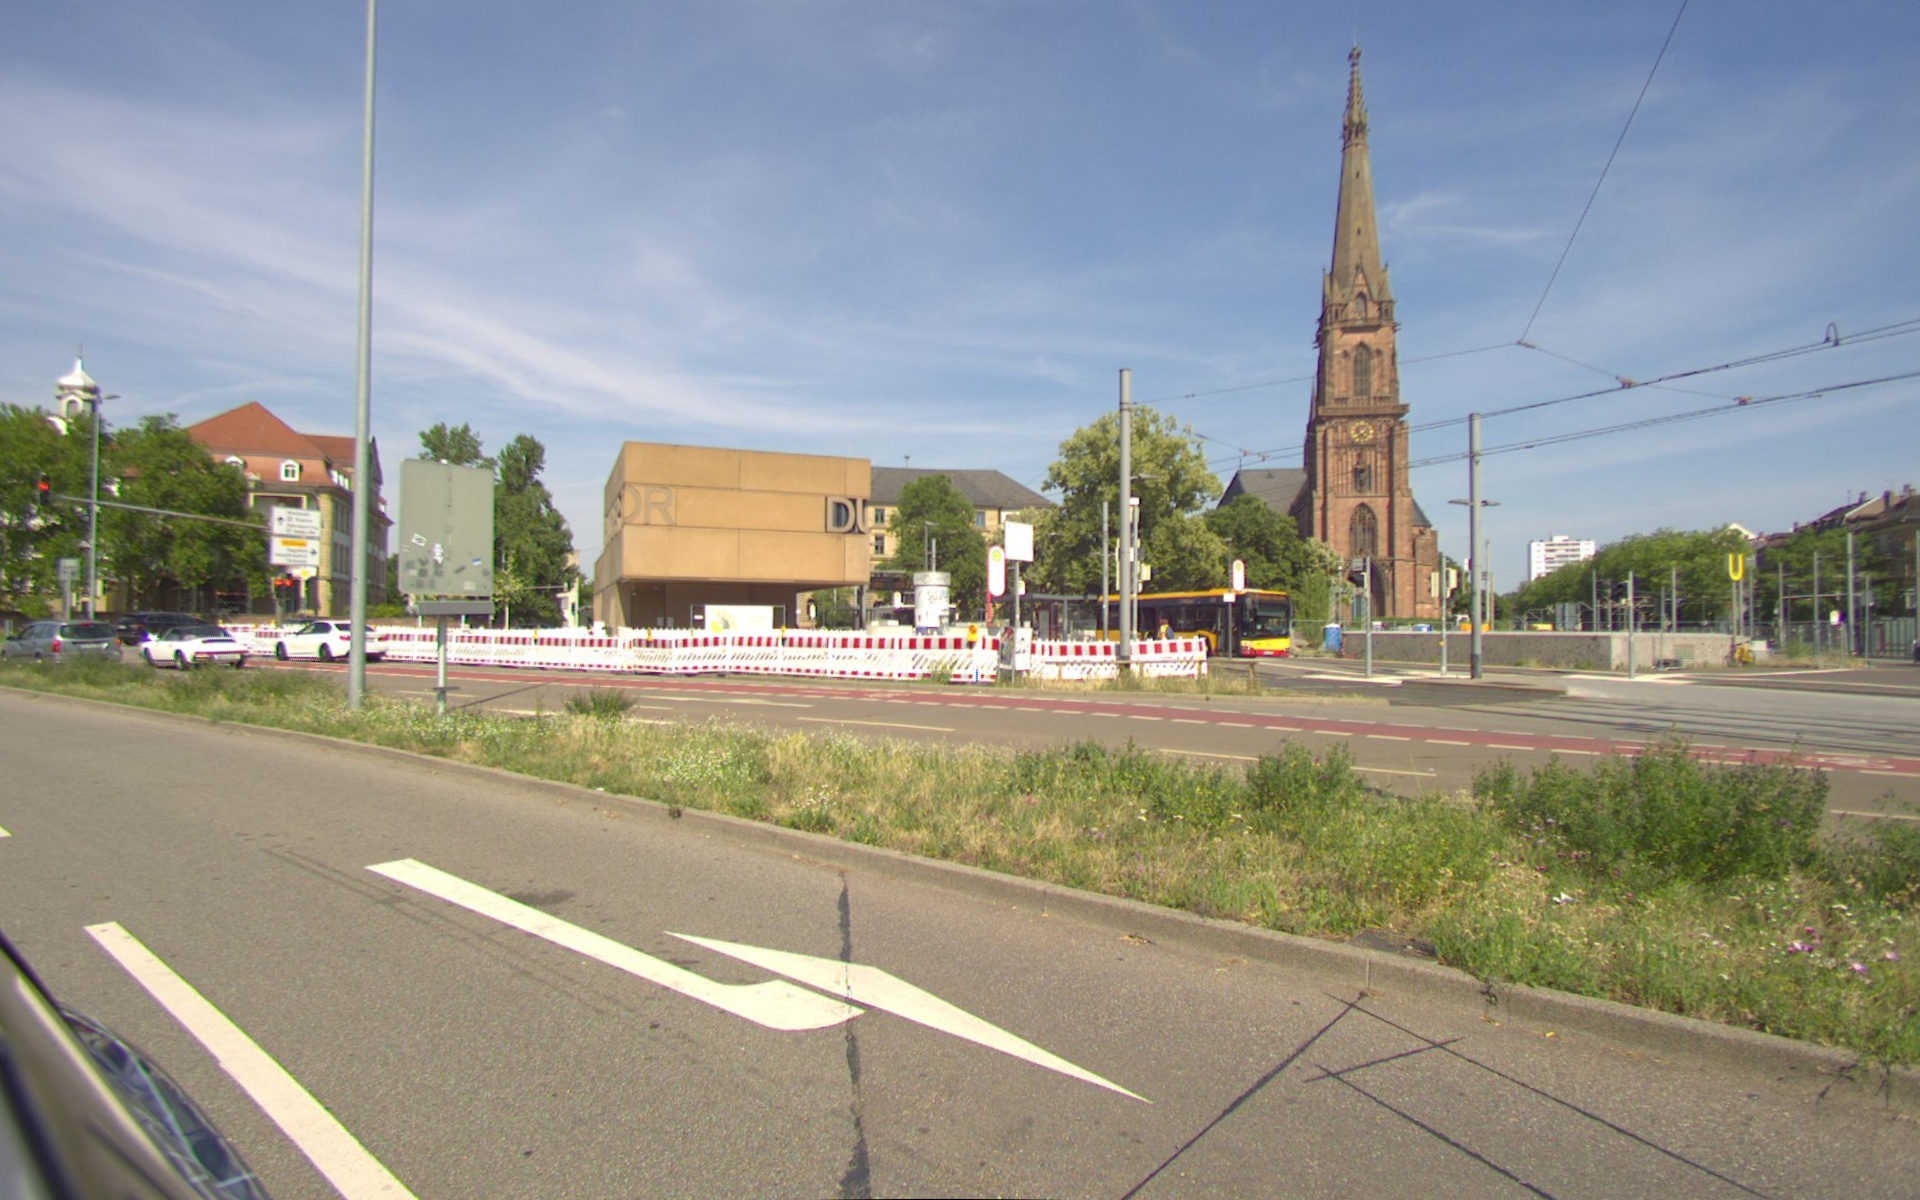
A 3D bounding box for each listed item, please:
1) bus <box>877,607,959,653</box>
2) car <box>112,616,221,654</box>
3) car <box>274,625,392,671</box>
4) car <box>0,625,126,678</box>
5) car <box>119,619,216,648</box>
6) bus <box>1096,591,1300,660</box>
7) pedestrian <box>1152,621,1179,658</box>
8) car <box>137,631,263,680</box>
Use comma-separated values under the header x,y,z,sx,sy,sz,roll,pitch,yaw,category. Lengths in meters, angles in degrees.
x,y,z,sx,sy,sz,roll,pitch,yaw,category
-3.517,2.415,79.679,2.710,3.348,11.827,1,-2,-22,bus
-40.186,1.738,51.335,1.745,1.742,4.088,-1,0,19,car
-21.540,1.596,34.757,3.984,1.431,1.785,-1,0,30,car
-24.835,1.377,27.890,3.984,1.296,1.583,-1,0,30,car
-44.478,1.871,56.882,1.743,1.454,4.092,-1,0,15,car
10.343,1.020,46.102,2.711,2.703,11.828,-1,0,-22,bus
8.001,1.526,39.416,0.911,1.377,0.532,-1,0,41,pedestrian
-22.567,1.618,30.017,3.984,1.296,1.583,-1,0,30,car
